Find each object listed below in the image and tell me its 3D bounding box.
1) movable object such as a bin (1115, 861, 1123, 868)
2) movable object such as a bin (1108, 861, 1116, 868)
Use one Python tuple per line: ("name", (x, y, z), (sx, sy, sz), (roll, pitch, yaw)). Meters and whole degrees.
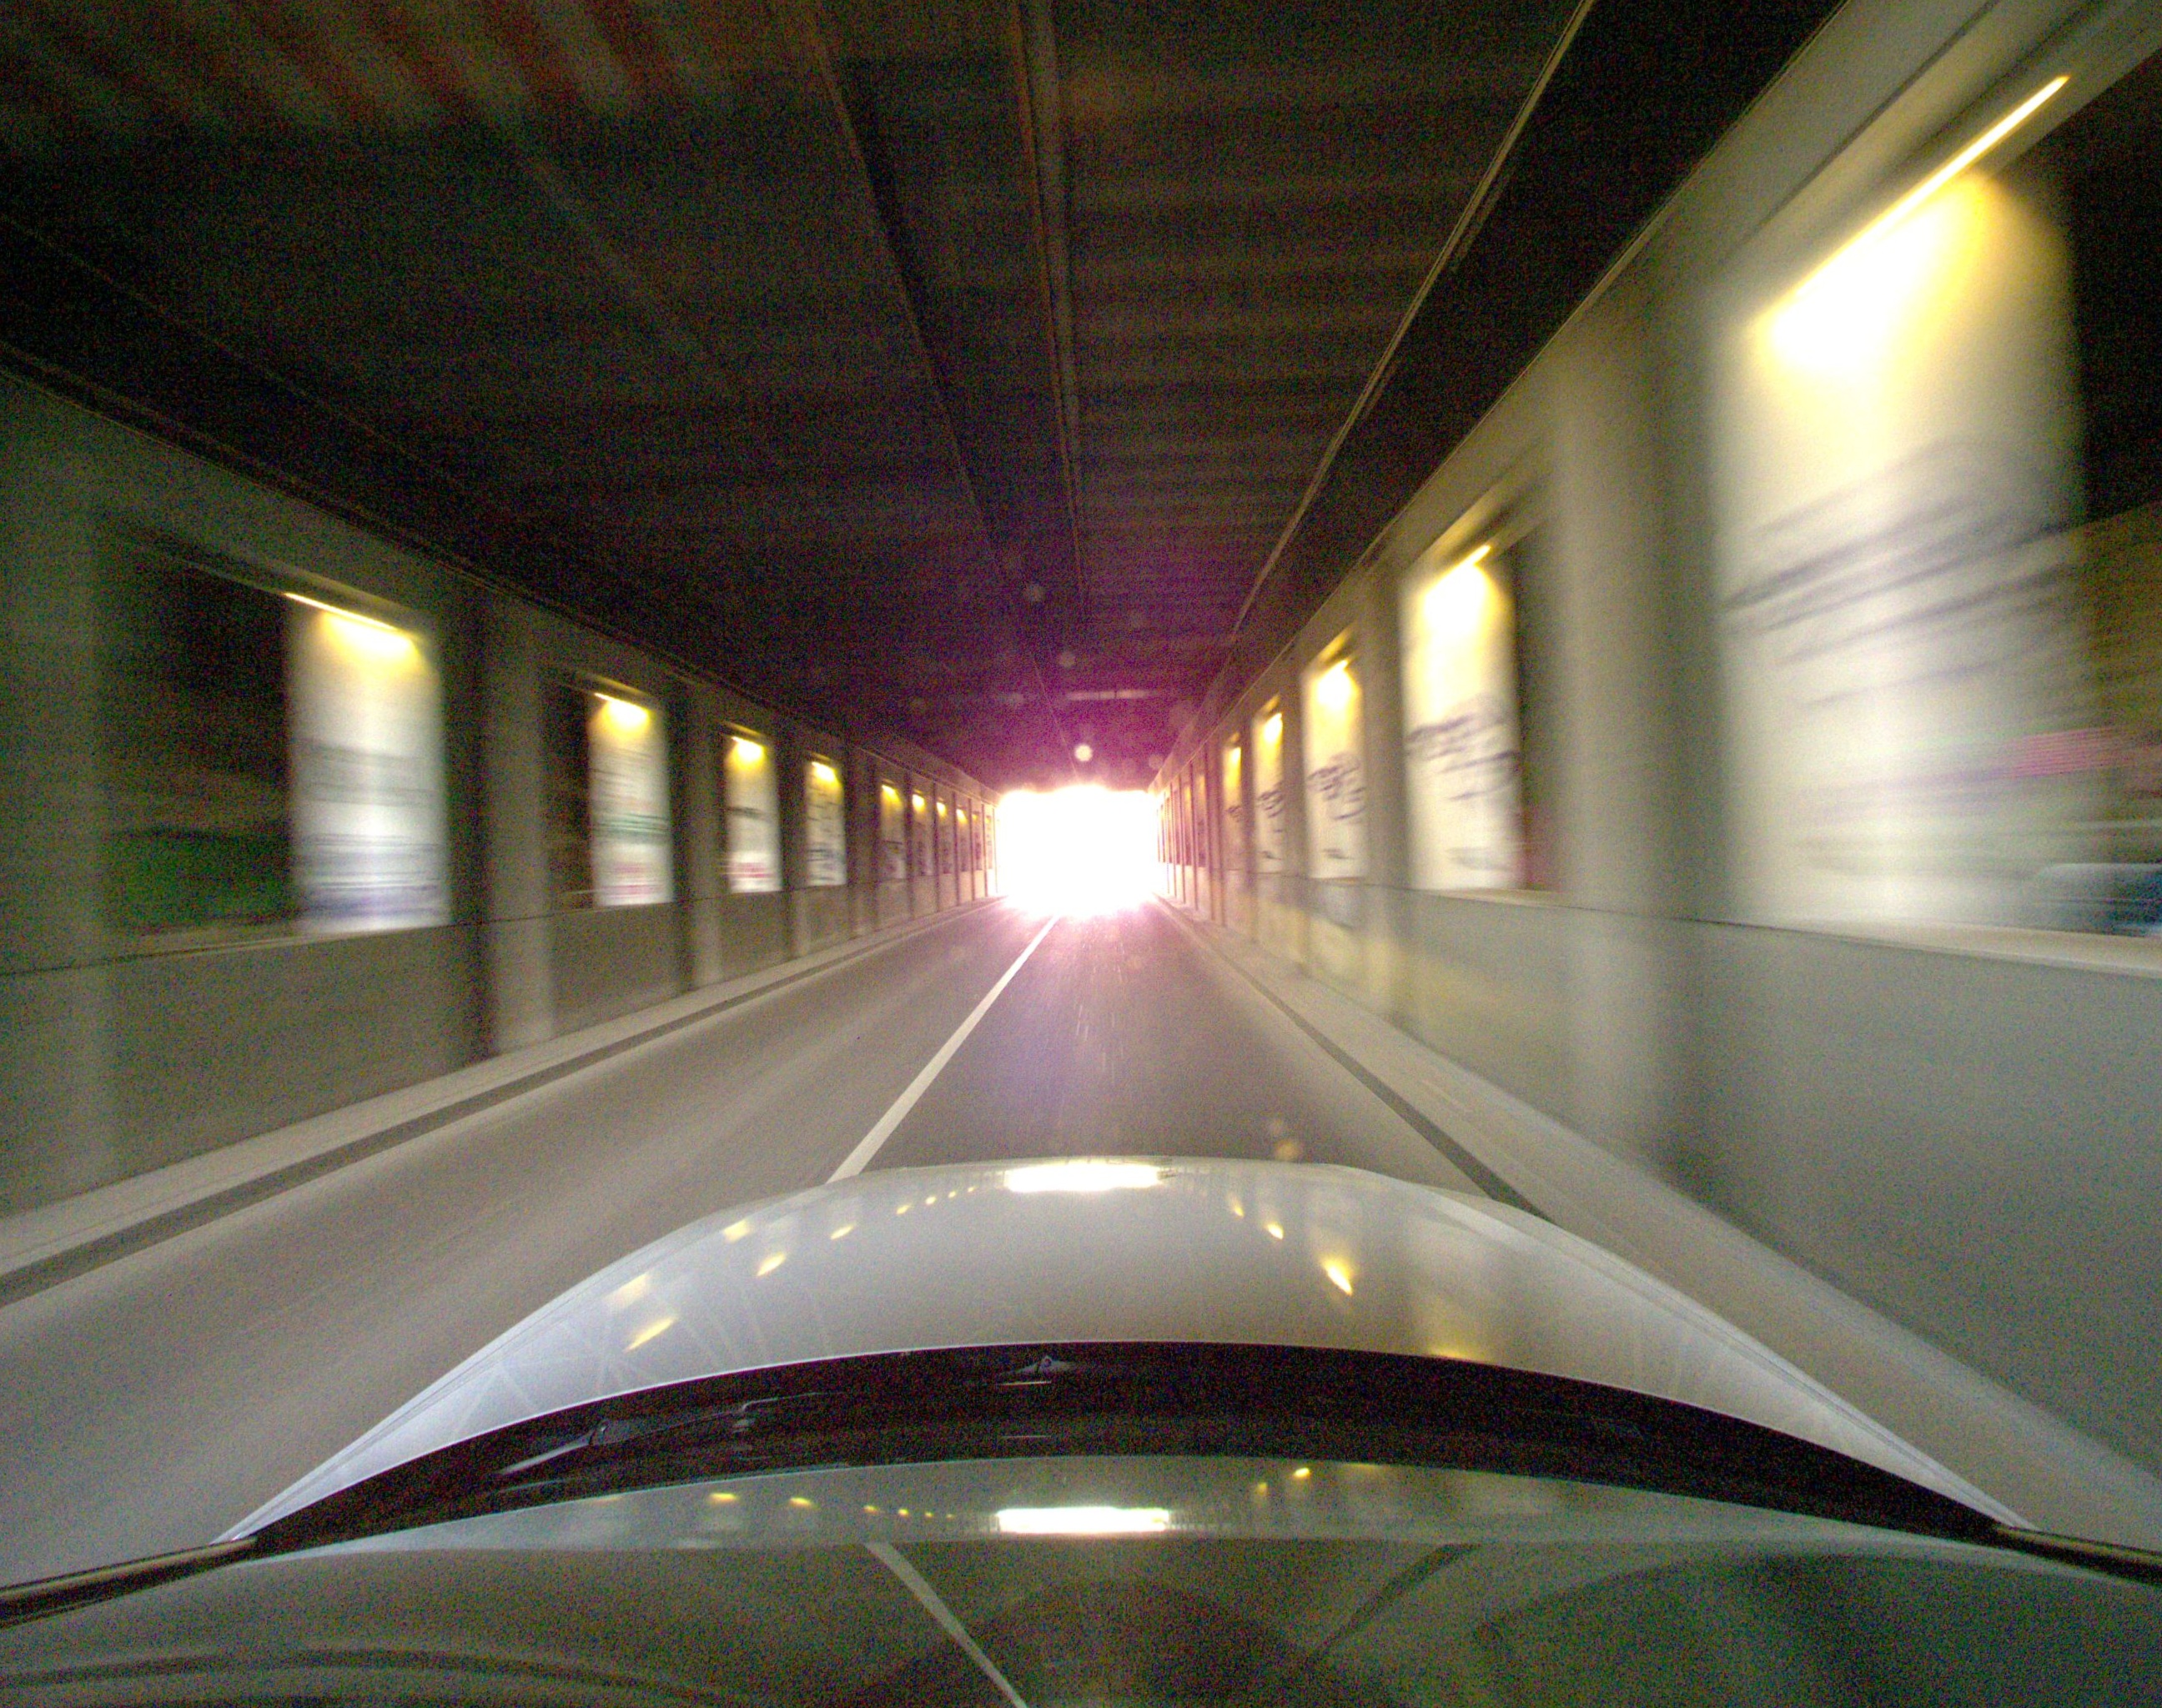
("movable object such as a bin", (7.689, 2.141, 165.340), (1.363, 1.418, 1.063), (0, -2, -6))
("movable object such as a bin", (6.274, 2.121, 165.174), (1.363, 1.418, 1.063), (0, -2, -6))
